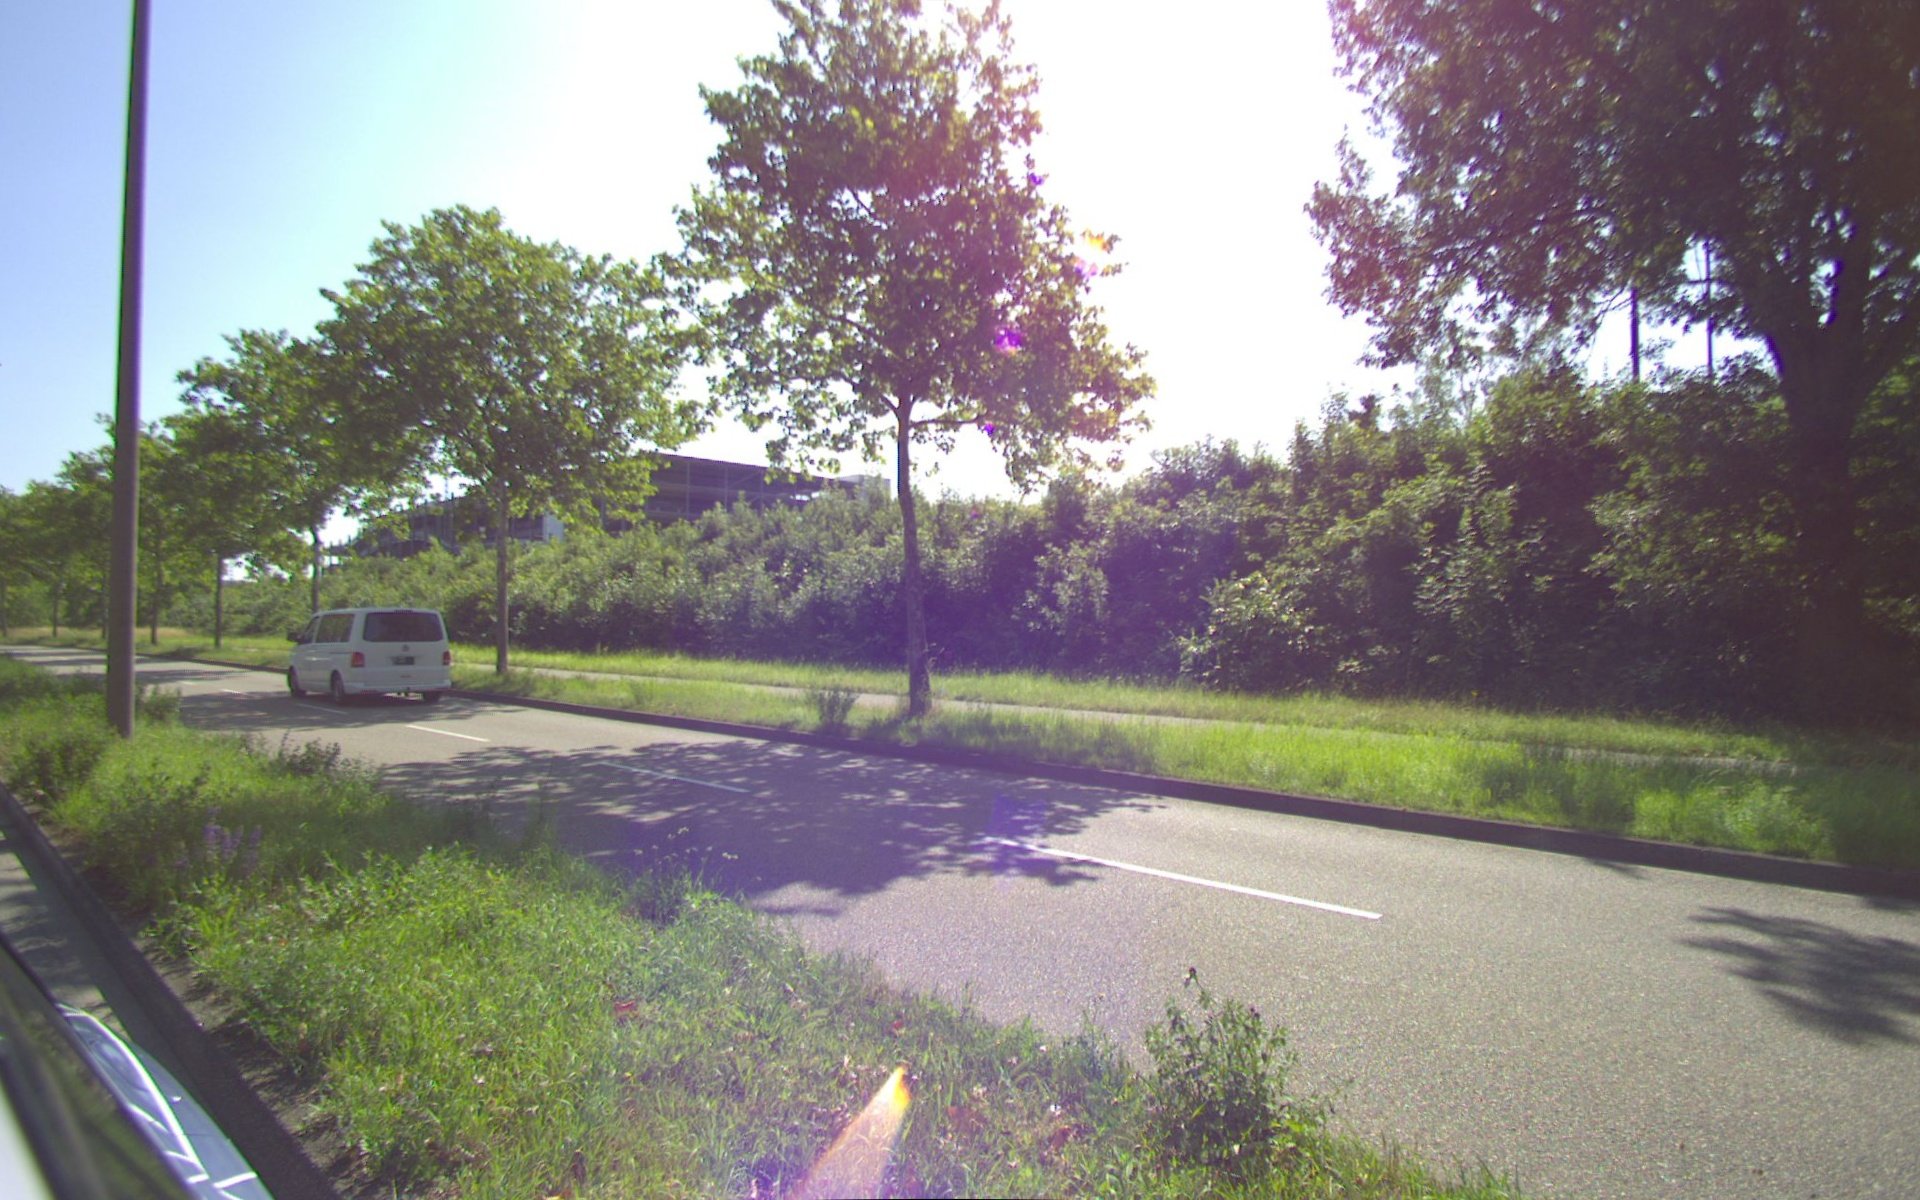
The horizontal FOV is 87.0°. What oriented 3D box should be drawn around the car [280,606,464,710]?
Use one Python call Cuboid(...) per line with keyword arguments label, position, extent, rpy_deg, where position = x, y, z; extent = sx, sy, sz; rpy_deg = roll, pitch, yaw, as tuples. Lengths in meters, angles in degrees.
Cuboid(label="car", position=(-12.151, 1.152, 20.799), extent=(4.574, 1.912, 1.972), rpy_deg=(-1, -4, 43))
